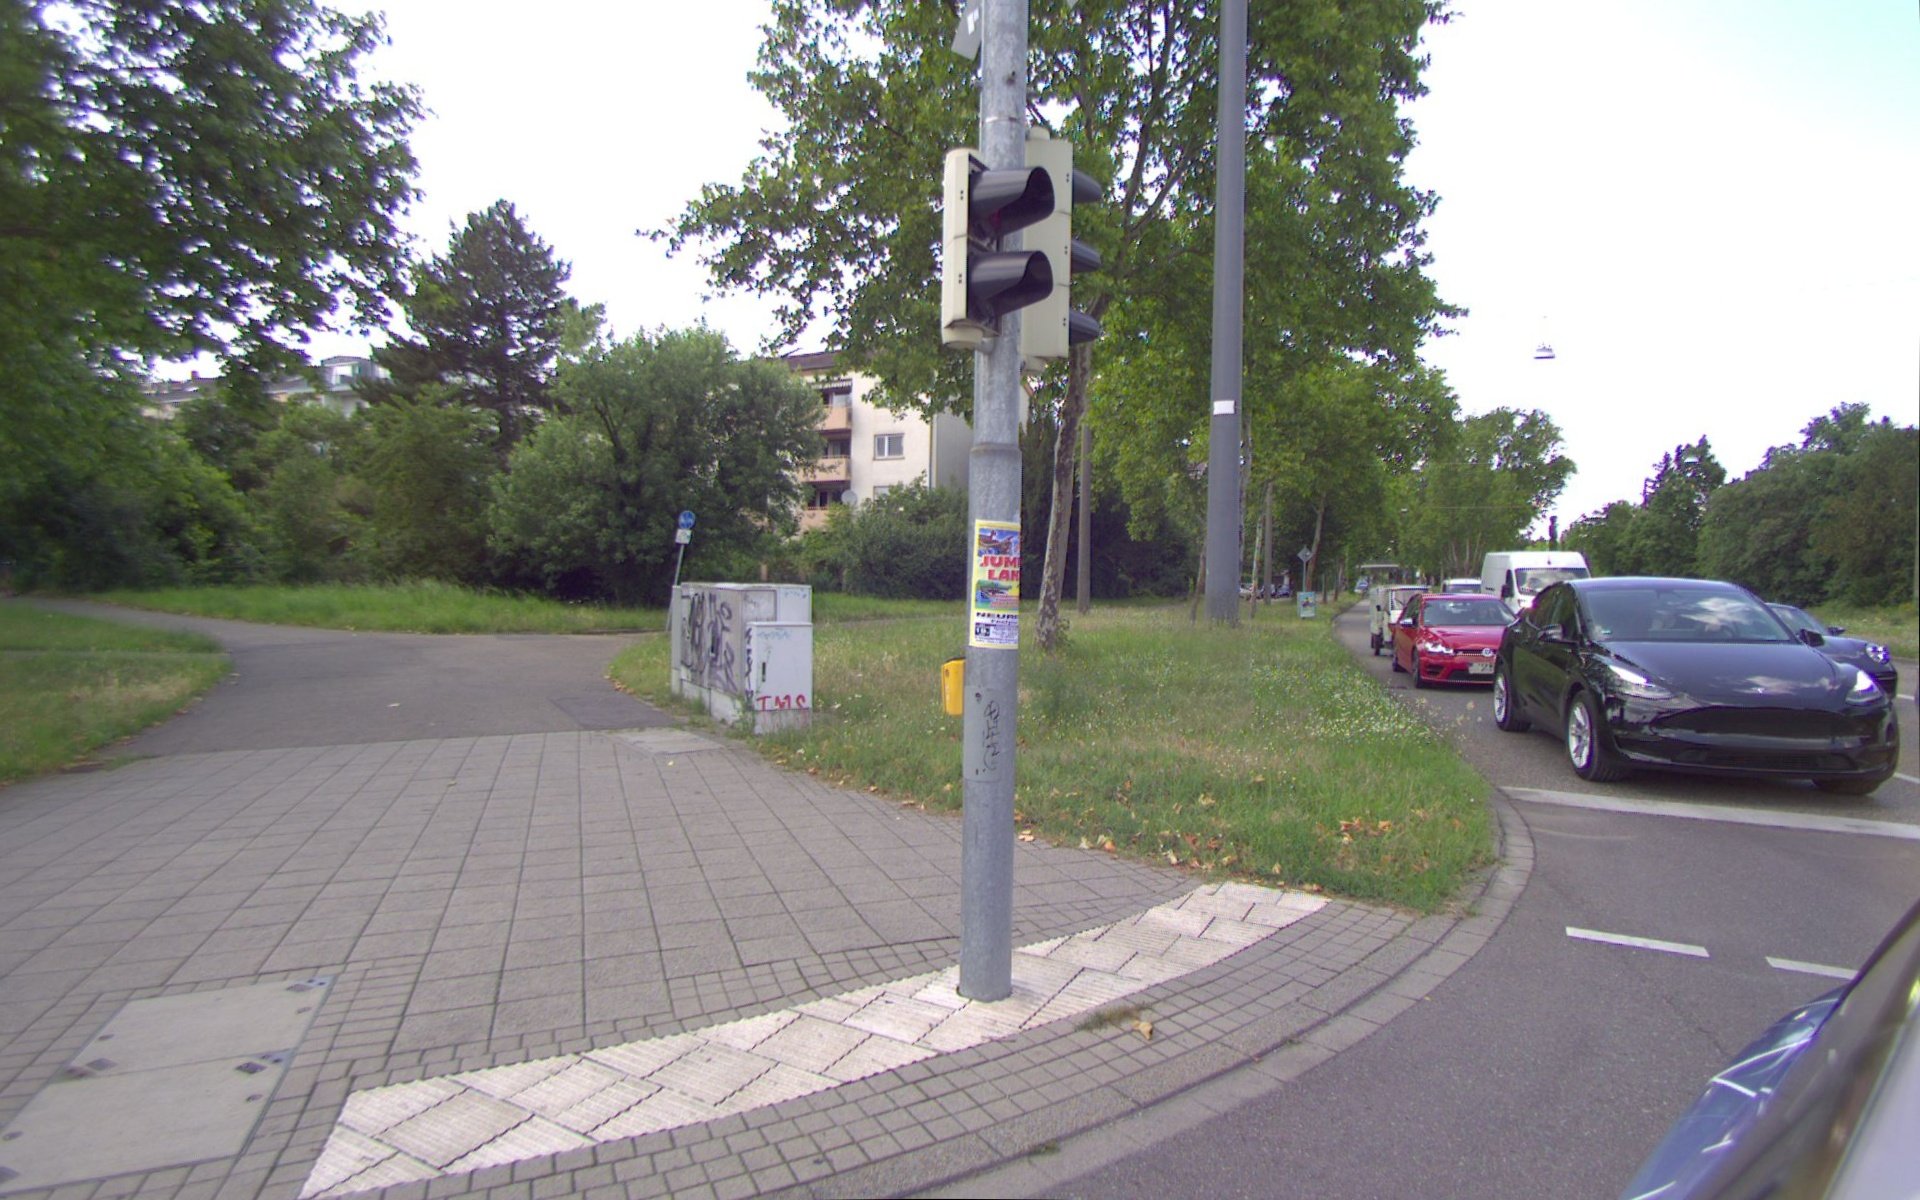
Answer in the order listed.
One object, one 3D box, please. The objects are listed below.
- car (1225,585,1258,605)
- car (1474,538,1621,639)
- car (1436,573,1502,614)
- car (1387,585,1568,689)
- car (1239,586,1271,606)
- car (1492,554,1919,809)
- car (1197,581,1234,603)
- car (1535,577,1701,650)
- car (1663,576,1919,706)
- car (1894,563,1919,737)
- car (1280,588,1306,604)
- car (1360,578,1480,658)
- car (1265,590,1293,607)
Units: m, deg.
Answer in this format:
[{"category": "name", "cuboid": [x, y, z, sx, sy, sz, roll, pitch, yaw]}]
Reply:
[{"category": "car", "cuboid": [24.247, -0.442, 87.190, 1.763, 1.616, 3.613, 1, -1, 32]}, {"category": "car", "cuboid": [16.500, -0.339, 28.828, 2.196, 2.561, 5.904, -1, 1, 16]}, {"category": "car", "cuboid": [21.897, -0.328, 43.700, 1.740, 1.667, 4.322, 1, 1, 16]}, {"category": "car", "cuboid": [8.216, 0.493, 16.490, 1.777, 1.408, 4.480, -1, 1, 16]}, {"category": "car", "cuboid": [26.509, -0.354, 90.868, 1.763, 1.616, 3.613, 1, -1, 32]}, {"category": "car", "cuboid": [6.271, 0.488, 9.044, 1.906, 1.672, 4.554, -1, 1, 18]}, {"category": "car", "cuboid": [20.005, -0.614, 79.268, 1.763, 1.616, 3.613, 1, -1, 32]}, {"category": "car", "cuboid": [13.823, 0.220, 21.550, 1.740, 1.392, 4.322, -1, 1, 16]}, {"category": "car", "cuboid": [11.521, 0.456, 14.040, 1.780, 1.527, 3.978, -1, 1, 18]}, {"category": "car", "cuboid": [9.621, 0.511, 7.662, 1.904, 1.672, 4.480, -1, 1, 16]}, {"category": "car", "cuboid": [35.329, -0.410, 107.401, 1.763, 1.616, 3.613, 1, -1, 32]}, {"category": "car", "cuboid": [10.149, 0.316, 22.625, 1.777, 1.589, 4.480, -1, 1, 16]}, {"category": "car", "cuboid": [31.660, -0.146, 100.490, 1.763, 1.616, 3.613, 1, -1, 32]}]
